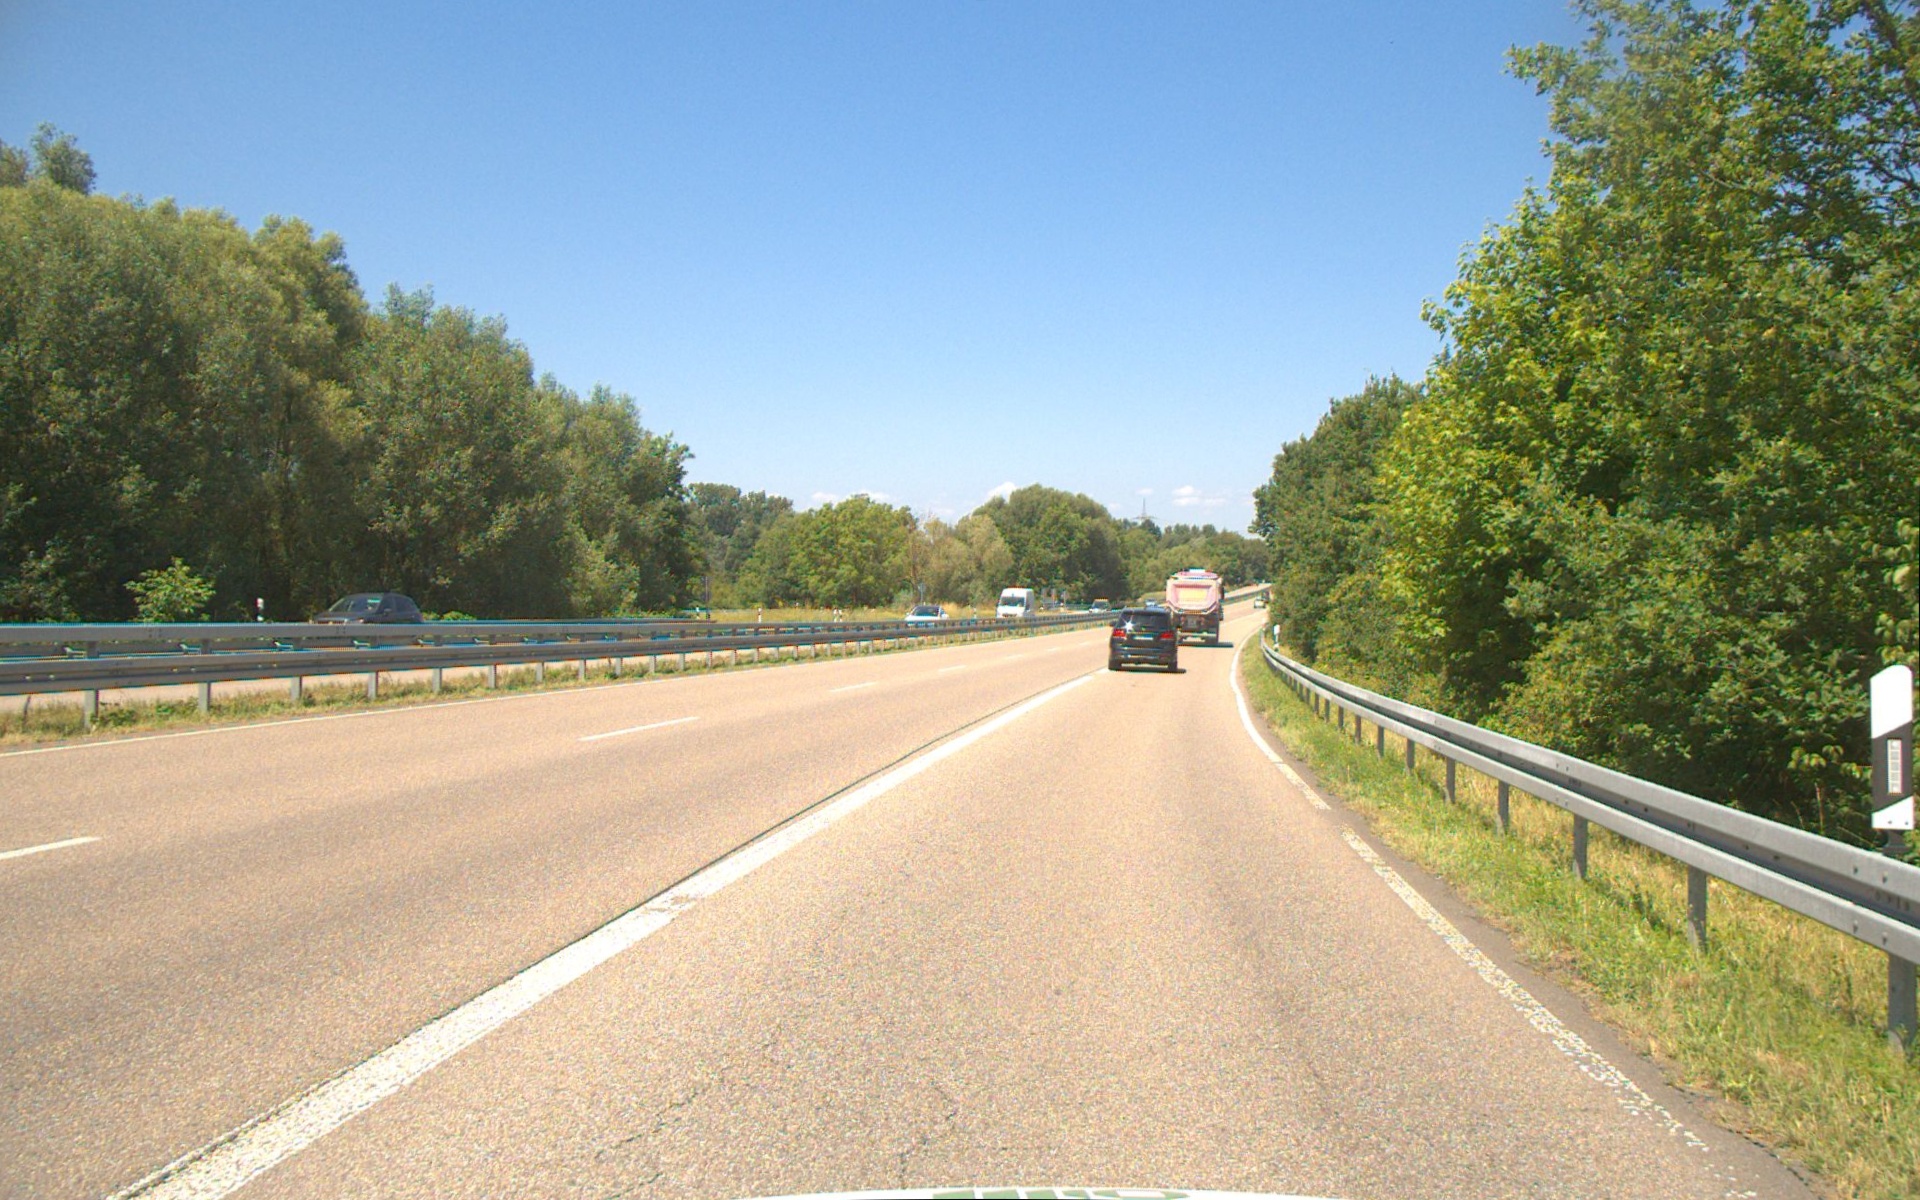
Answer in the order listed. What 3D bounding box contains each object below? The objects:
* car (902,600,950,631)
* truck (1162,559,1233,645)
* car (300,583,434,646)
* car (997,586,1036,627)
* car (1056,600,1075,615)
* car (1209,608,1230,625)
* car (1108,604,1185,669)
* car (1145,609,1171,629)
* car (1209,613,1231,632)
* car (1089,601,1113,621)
[{"bbox_3d":[-1.722,0.783,85.299,1.877,1.515,4.003,2,0,7],"label":"car"},{"bbox_3d":[12.239,-0.043,84.286,2.662,3.998,12.382,1,1,12],"label":"truck"},{"bbox_3d":[-15.785,0.375,44.254,1.653,1.579,4.078,1,0,8],"label":"car"},{"bbox_3d":[3.931,0.470,114.593,2.058,2.730,6.632,1,0,7],"label":"car"},{"bbox_3d":[11.650,0.839,182.245,1.877,1.515,4.003,2,0,7],"label":"car"},{"bbox_3d":[26.431,1.642,168.239,1.818,1.700,4.003,1,0,12],"label":"car"},{"bbox_3d":[5.271,0.988,46.369,1.818,1.700,4.003,1,0,11],"label":"car"},{"bbox_3d":[17.636,1.649,147.201,1.818,1.700,4.003,1,0,12],"label":"car"},{"bbox_3d":[24.384,2.097,154.876,1.818,1.700,4.003,1,0,12],"label":"car"},{"bbox_3d":[13.576,1.032,159.048,1.823,1.862,4.664,1,0,10],"label":"car"}]
